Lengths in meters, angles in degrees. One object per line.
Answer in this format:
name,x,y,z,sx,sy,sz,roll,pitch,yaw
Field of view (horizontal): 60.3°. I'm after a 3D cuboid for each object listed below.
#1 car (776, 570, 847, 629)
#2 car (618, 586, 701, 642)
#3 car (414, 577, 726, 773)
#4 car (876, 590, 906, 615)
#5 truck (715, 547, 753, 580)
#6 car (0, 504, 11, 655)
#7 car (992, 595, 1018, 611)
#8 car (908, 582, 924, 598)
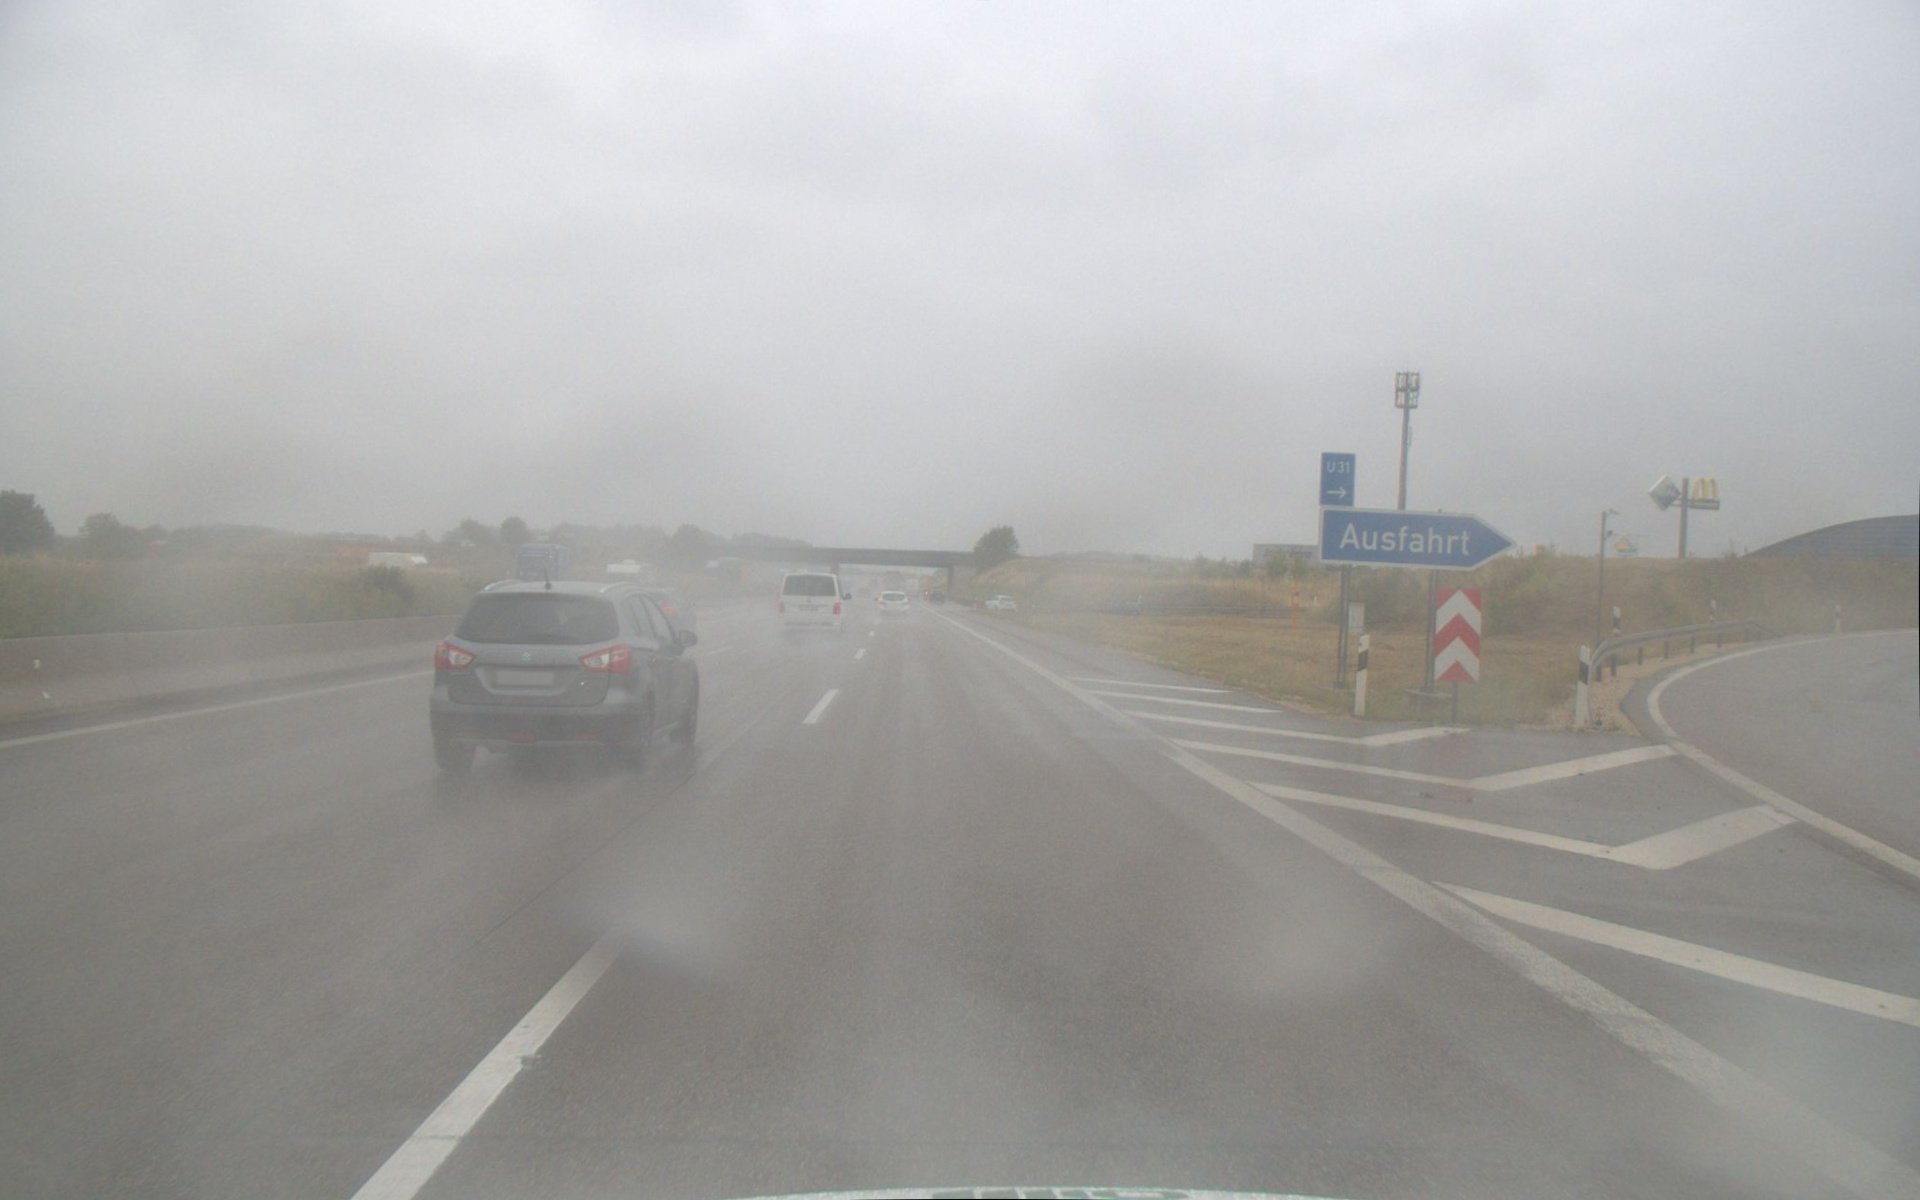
car,-4.304,-0.023,48.428,1.859,1.613,3.998,1,0,-3
car,-8.051,0.356,44.589,1.580,1.378,3.998,2,0,-2
car,-3.453,0.587,15.600,1.808,1.539,4.756,1,0,0
car,-3.552,0.146,85.671,1.438,1.229,2.990,2,0,-1
truck,-25.124,-4.042,184.163,3.200,3.501,10.125,1,0,-3
car,-18.620,-0.390,27.379,2.447,2.753,6.202,1,0,-3
car,3.790,0.259,139.476,1.953,1.288,3.999,1,0,-1
car,-6.398,-1.446,238.612,1.955,2.138,3.996,2,1,-5
